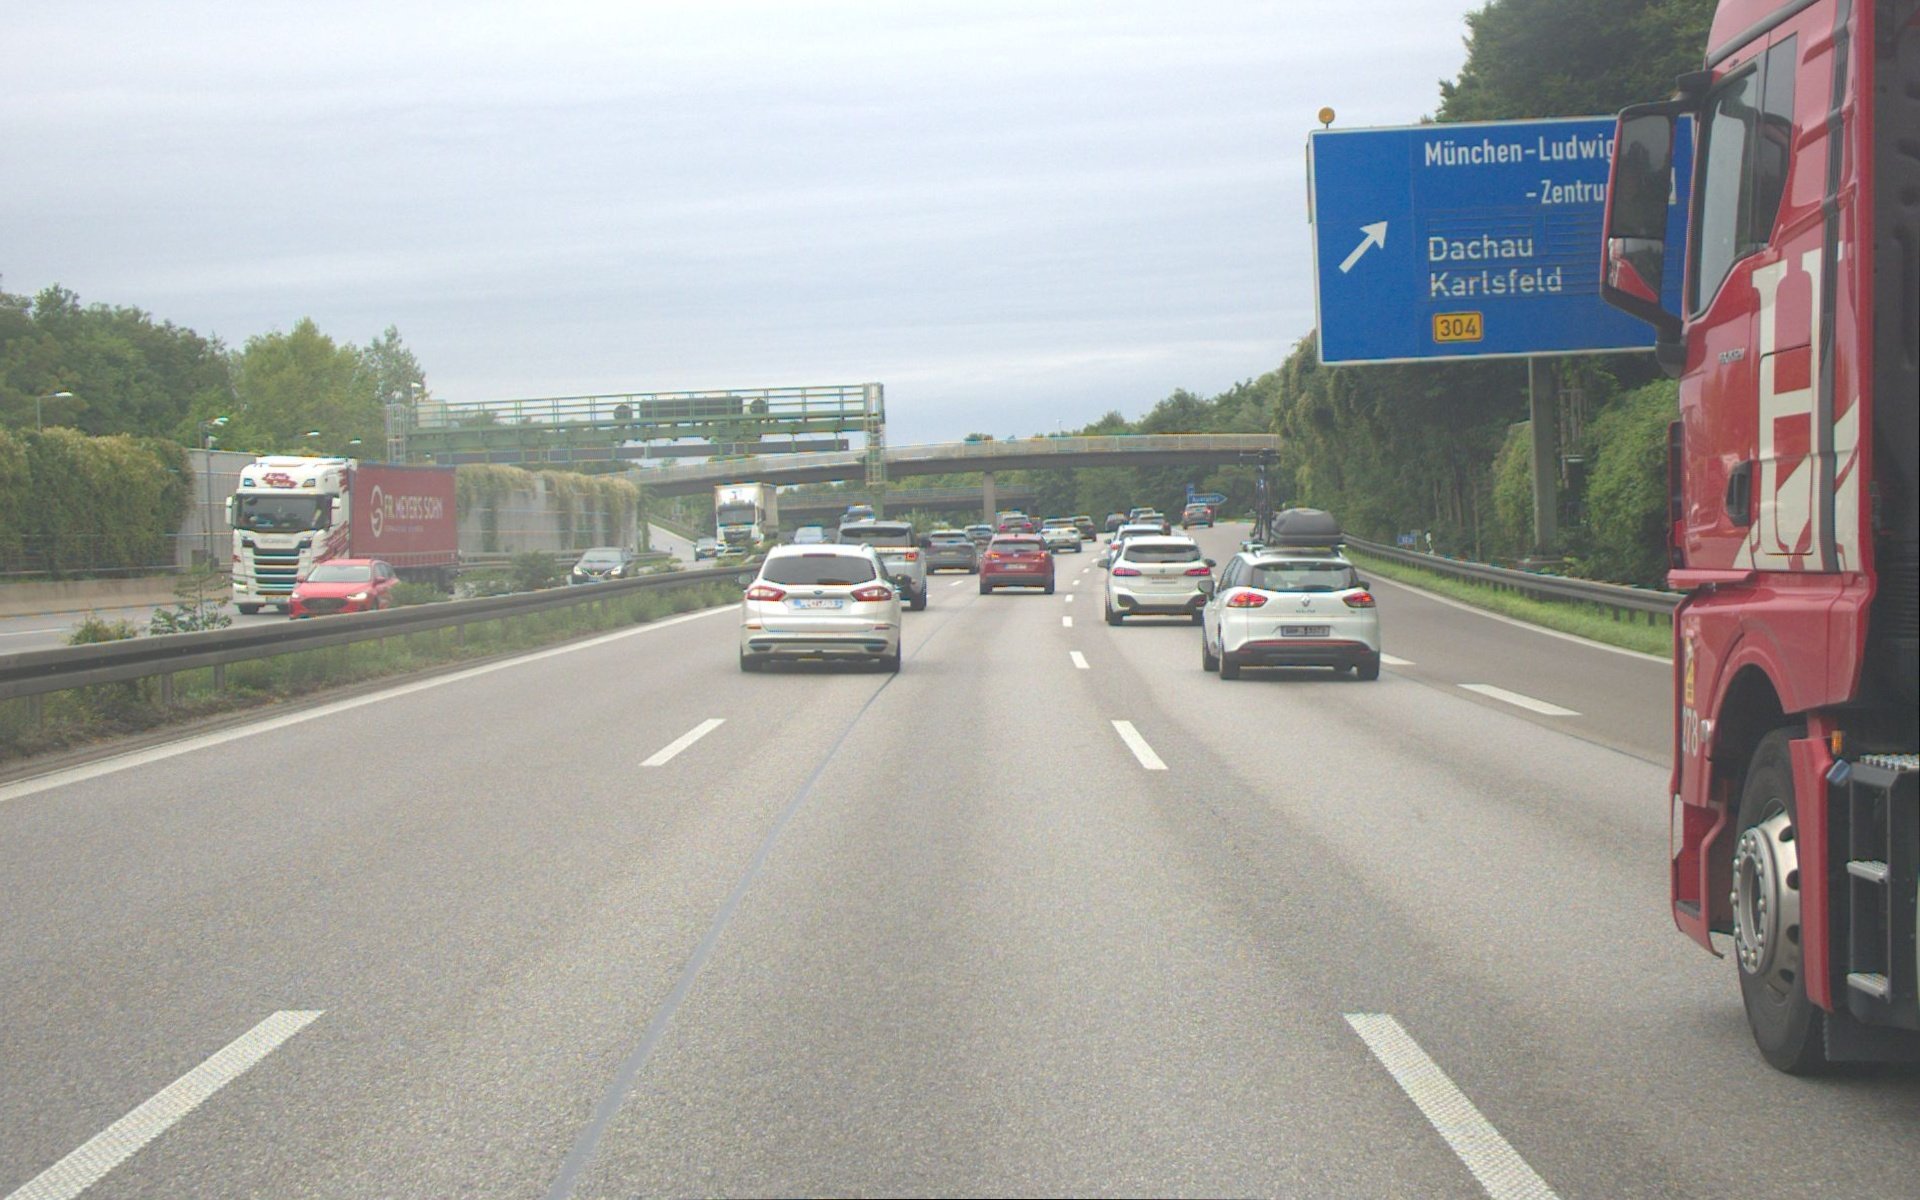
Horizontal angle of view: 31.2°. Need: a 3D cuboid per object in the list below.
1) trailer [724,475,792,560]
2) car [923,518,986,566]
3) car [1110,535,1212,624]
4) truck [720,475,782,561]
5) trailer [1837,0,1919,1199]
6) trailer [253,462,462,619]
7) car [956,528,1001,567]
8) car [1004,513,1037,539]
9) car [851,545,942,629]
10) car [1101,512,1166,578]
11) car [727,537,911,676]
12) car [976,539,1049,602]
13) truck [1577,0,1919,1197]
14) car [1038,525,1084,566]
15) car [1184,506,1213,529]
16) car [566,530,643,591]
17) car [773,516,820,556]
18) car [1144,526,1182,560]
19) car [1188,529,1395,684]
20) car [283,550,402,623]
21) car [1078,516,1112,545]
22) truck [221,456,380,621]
[{"bbox_3d":[-10.871,-4.453,185.920,2.668,4.429,8.572,-1,1,3],"label":"trailer"},{"bbox_3d":[-0.164,-1.903,111.922,1.689,1.501,3.871,-2,1,5],"label":"car"},{"bbox_3d":[3.488,-0.357,60.051,1.689,1.501,3.871,0,0,2],"label":"car"},{"bbox_3d":[-11.055,-4.325,182.185,2.649,4.458,5.283,-1,1,3],"label":"truck"},{"bbox_3d":[3.615,-0.444,1.908,2.668,3.925,13.131,0,1,-1],"label":"trailer"},{"bbox_3d":[-16.748,-1.698,96.741,2.745,4.113,13.687,0,1,3],"label":"trailer"},{"bbox_3d":[0.813,-2.288,149.525,1.689,1.634,3.871,-1,1,4],"label":"car"},{"bbox_3d":[3.377,-4.121,190.728,1.689,1.417,3.871,0,1,3],"label":"car"},{"bbox_3d":[-1.308,-0.286,69.209,1.689,1.501,3.872,4,2,-2],"label":"car"},{"bbox_3d":[4.898,-1.534,96.681,1.689,1.773,3.871,-1,1,4],"label":"car"},{"bbox_3d":[-1.594,0.042,40.574,1.892,1.499,5.030,1,1,1],"label":"car"},{"bbox_3d":[1.295,-0.746,83.846,1.689,1.501,3.871,0,1,2],"label":"car"},{"bbox_3d":[3.577,-0.575,8.904,2.695,3.899,6.557,0,1,-1],"label":"truck"},{"bbox_3d":[4.482,-2.395,151.925,1.790,1.773,3.871,-1,1,4],"label":"car"},{"bbox_3d":[15.082,-5.218,217.645,1.689,1.417,3.871,0,1,3],"label":"car"},{"bbox_3d":[-11.524,-1.305,111.581,1.993,1.732,4.001,2,3,0],"label":"car"},{"bbox_3d":[-8.476,-3.290,178.614,1.993,2.007,4.909,0,0,2],"label":"car"},{"bbox_3d":[9.387,-2.648,159.049,1.689,1.534,3.871,0,1,4],"label":"car"},{"bbox_3d":[3.648,0.041,38.594,1.816,1.620,5.030,0,1,0],"label":"car"},{"bbox_3d":[-13.497,-0.304,75.420,1.771,1.564,4.717,0,0,0],"label":"car"},{"bbox_3d":[7.304,-3.750,185.824,1.689,1.534,3.871,0,1,4],"label":"car"},{"bbox_3d":[-17.117,-1.615,89.581,2.668,4.113,5.916,-1,1,3],"label":"truck"}]
